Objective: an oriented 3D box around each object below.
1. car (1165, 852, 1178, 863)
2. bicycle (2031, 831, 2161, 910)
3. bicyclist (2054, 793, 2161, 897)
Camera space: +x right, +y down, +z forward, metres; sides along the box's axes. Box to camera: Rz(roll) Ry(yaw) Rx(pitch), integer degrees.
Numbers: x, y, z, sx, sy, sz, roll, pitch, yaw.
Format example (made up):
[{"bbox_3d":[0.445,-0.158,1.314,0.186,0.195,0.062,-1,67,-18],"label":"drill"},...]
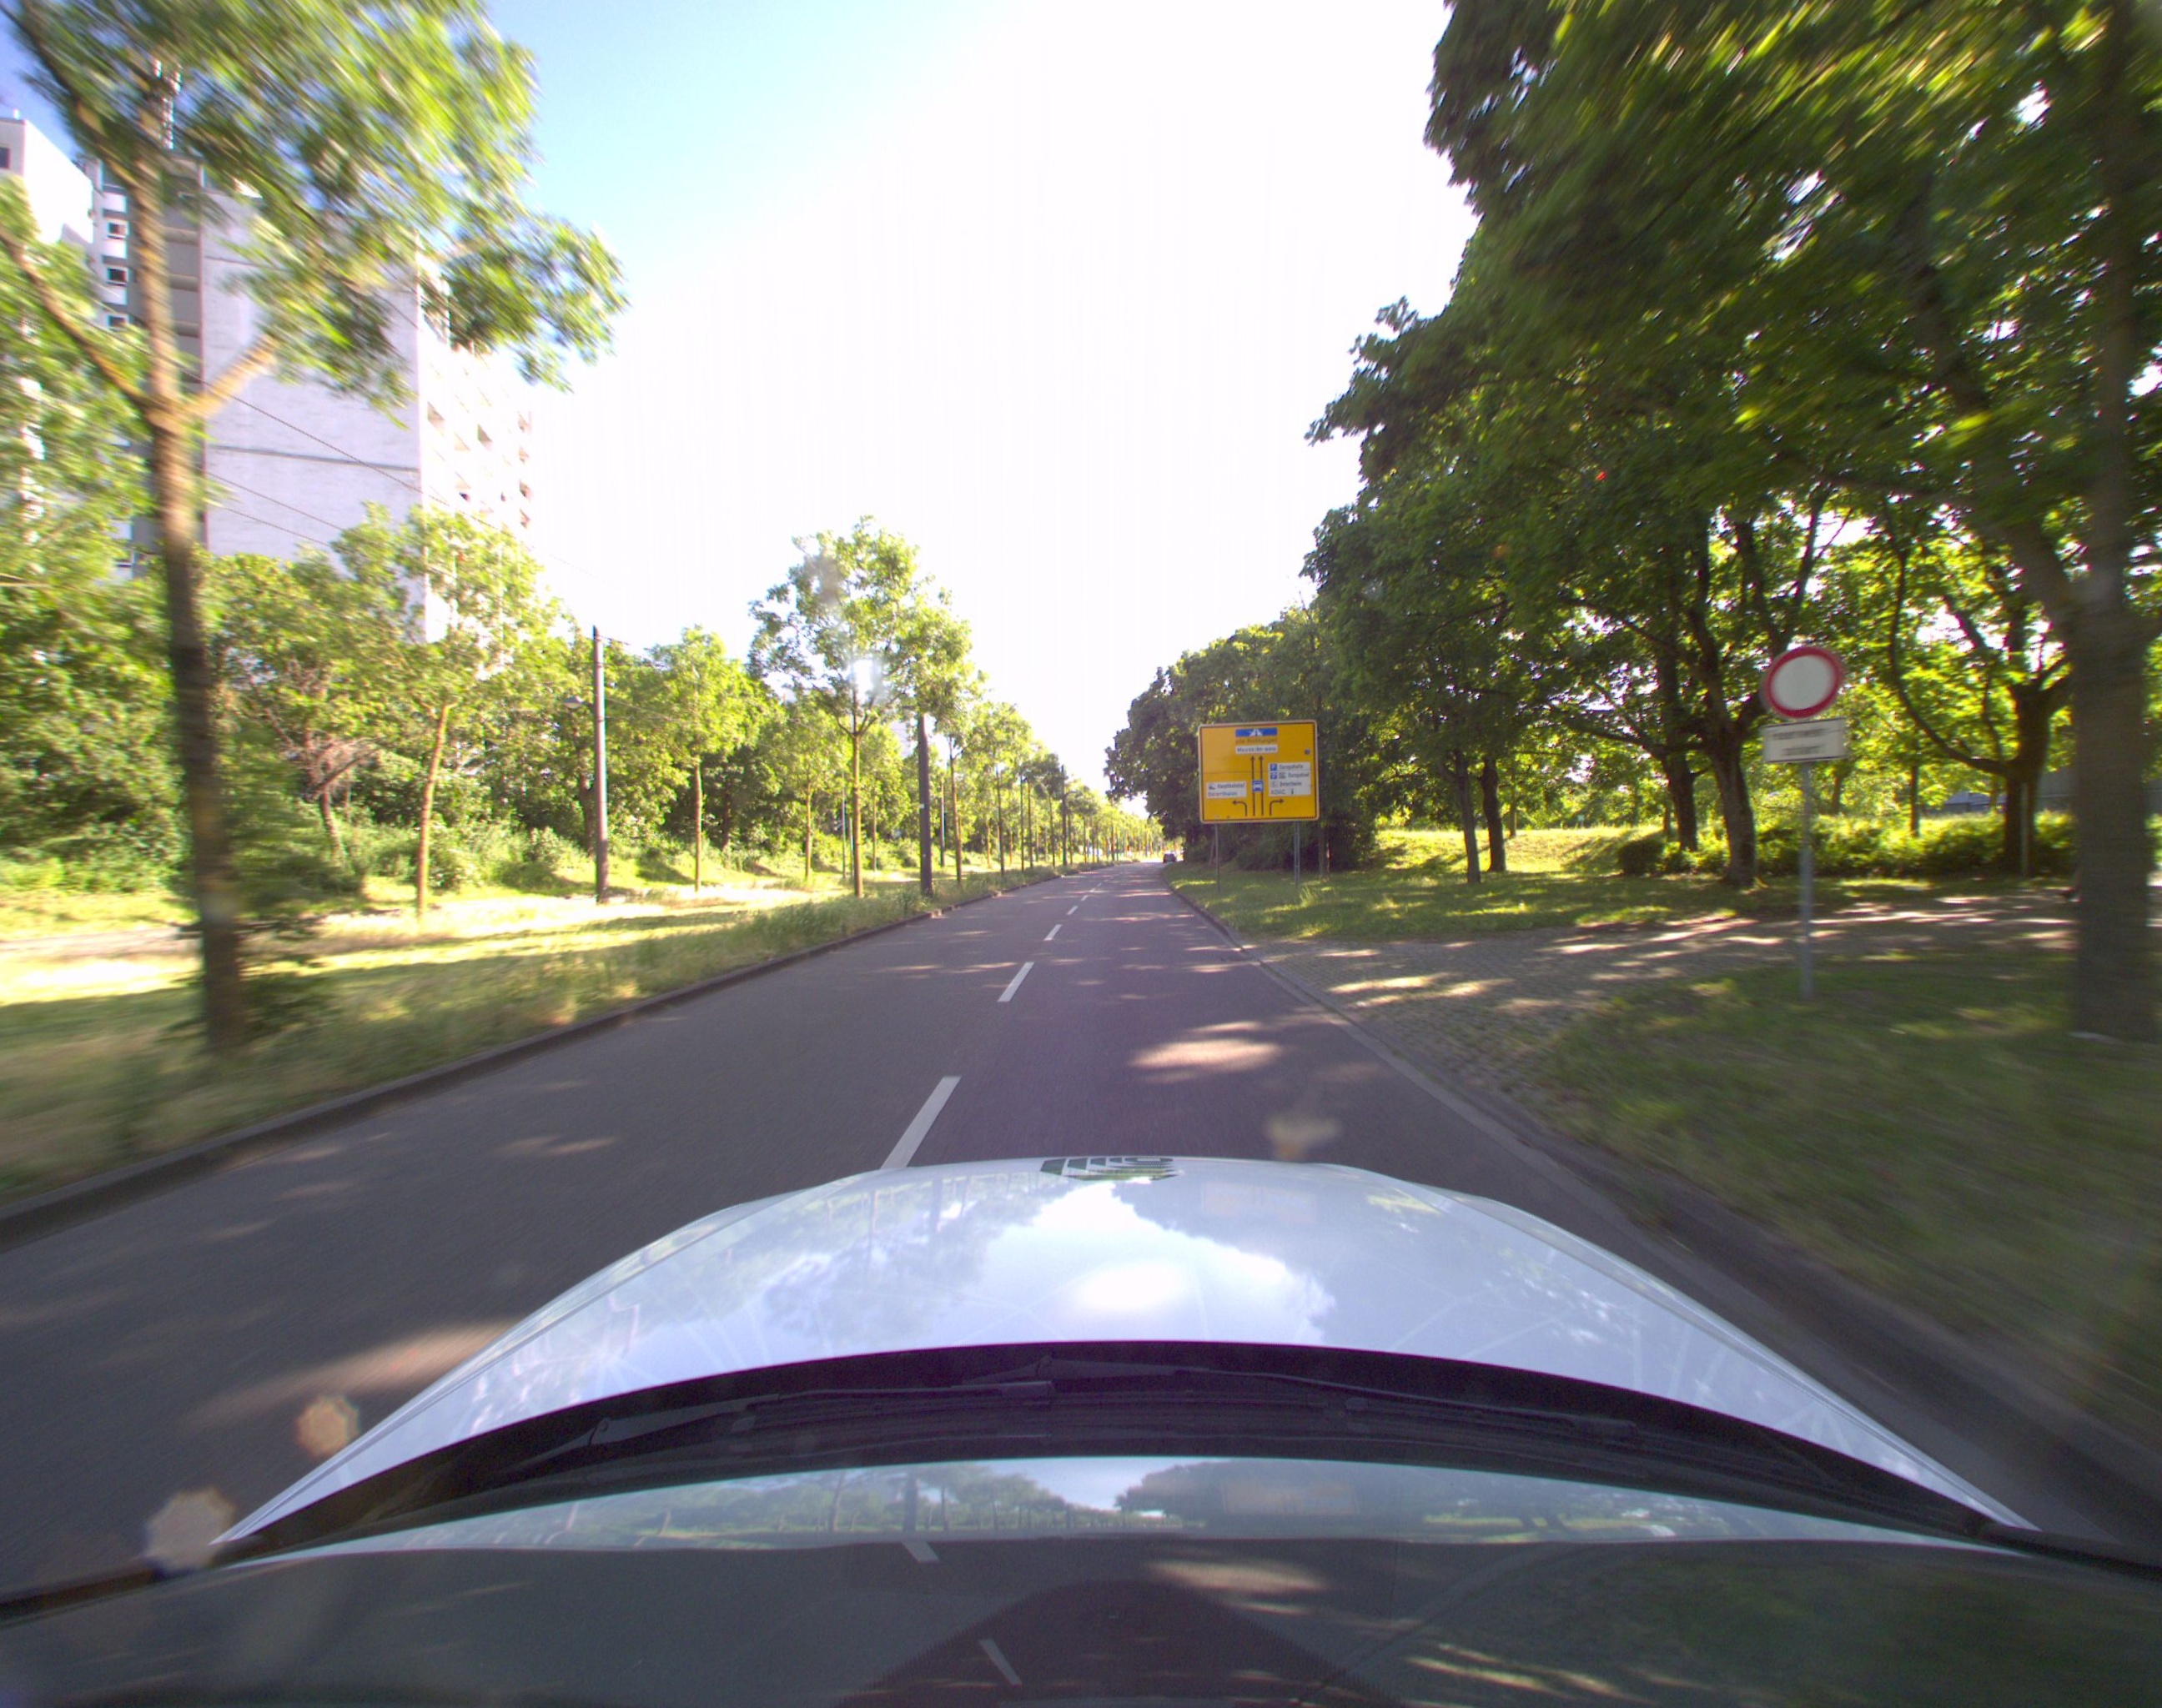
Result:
[{"bbox_3d":[12.796,0.522,115.357,1.624,1.498,4.245,-1,0,9],"label":"car"},{"bbox_3d":[15.108,0.220,11.959,2.143,1.047,0.791,-2,0,-20],"label":"bicycle"},{"bbox_3d":[15.108,-0.136,11.960,0.845,1.450,0.787,-2,0,-20],"label":"bicyclist"}]
